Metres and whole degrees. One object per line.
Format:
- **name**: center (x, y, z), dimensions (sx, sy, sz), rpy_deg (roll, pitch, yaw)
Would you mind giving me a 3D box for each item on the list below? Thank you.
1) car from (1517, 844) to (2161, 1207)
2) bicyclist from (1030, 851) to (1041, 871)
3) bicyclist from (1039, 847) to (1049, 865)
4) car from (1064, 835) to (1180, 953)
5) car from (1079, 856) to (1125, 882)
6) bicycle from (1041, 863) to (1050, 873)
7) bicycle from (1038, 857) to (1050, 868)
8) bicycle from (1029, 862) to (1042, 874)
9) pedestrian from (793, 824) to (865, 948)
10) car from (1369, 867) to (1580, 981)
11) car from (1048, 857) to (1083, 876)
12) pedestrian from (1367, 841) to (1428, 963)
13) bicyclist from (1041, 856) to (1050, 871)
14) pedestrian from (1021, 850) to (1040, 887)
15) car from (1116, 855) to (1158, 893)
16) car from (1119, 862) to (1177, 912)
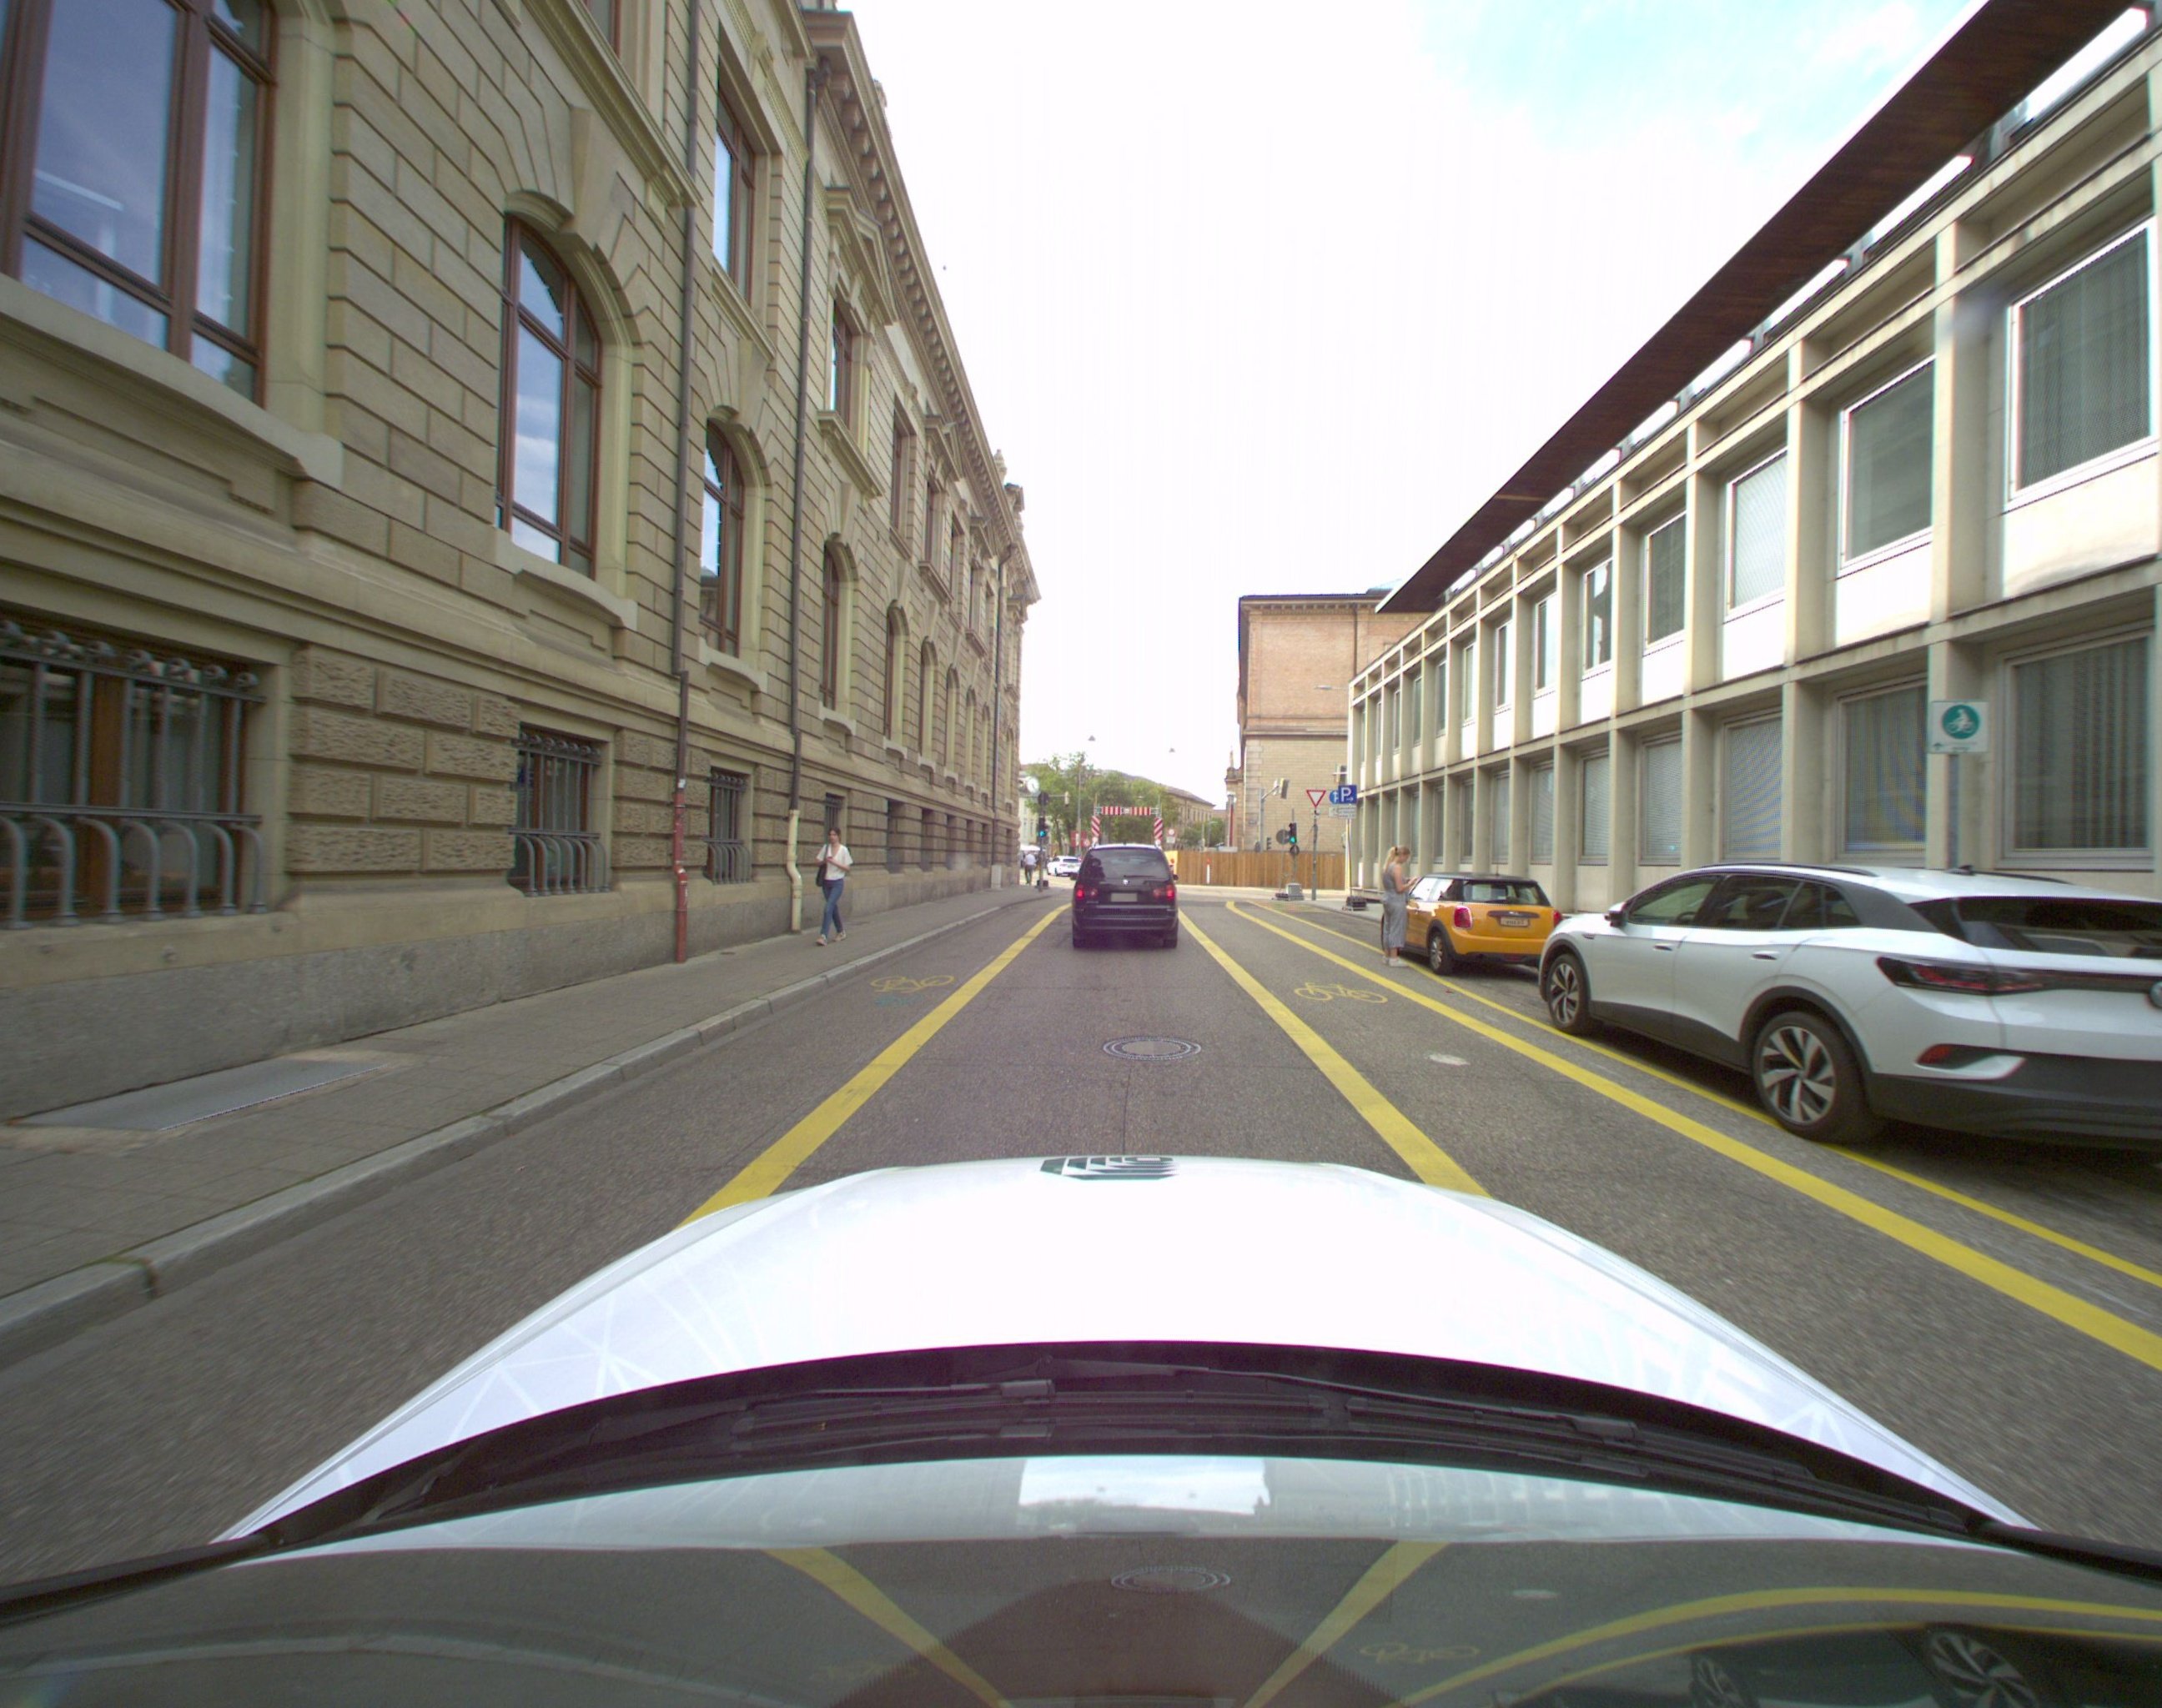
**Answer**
- **car**: center (5.204, 0.846, 5.991), dimensions (1.851, 1.605, 4.518), rpy_deg (4, -1, 5)
- **bicyclist**: center (-3.795, 0.565, 67.890), dimensions (0.735, 1.612, 0.692), rpy_deg (1, -1, -12)
- **bicyclist**: center (-3.724, 0.233, 81.925), dimensions (0.965, 1.782, 0.983), rpy_deg (1, -1, -8)
- **car**: center (0.834, 0.649, 14.784), dimensions (1.781, 1.790, 4.109), rpy_deg (1, -1, 5)
- **car**: center (1.200, 0.879, 48.244), dimensions (1.706, 1.501, 3.980), rpy_deg (1, -1, -14)
- **bicycle**: center (-3.438, 1.342, 78.658), dimensions (0.734, 1.009, 2.063), rpy_deg (1, -1, -8)
- **bicycle**: center (-3.749, 0.831, 81.981), dimensions (0.964, 1.112, 2.782), rpy_deg (1, -1, -7)
- **bicycle**: center (-3.799, 1.175, 67.865), dimensions (0.735, 1.009, 2.061), rpy_deg (1, -1, -11)
- **pedestrian**: center (-3.901, 0.484, 12.693), dimensions (0.661, 1.819, 1.048), rpy_deg (3, -1, 2)
- **car**: center (5.829, 0.941, 12.604), dimensions (1.672, 1.435, 3.892), rpy_deg (2, -1, 5)
- **car**: center (-1.130, 0.890, 57.721), dimensions (1.652, 1.321, 3.657), rpy_deg (1, -1, -14)
- **pedestrian**: center (4.747, 0.699, 12.236), dimensions (0.694, 1.764, 0.707), rpy_deg (1, -1, 6)
- **bicyclist**: center (-3.413, 0.920, 78.530), dimensions (0.735, 1.470, 0.806), rpy_deg (1, -1, -9)
- **pedestrian**: center (-2.590, 0.739, 42.076), dimensions (0.789, 1.819, 1.048), rpy_deg (3, -1, 2)
- **car**: center (2.482, 0.867, 36.628), dimensions (1.766, 1.586, 4.002), rpy_deg (1, -1, 2)
- **car**: center (2.127, 1.023, 26.832), dimensions (1.672, 1.469, 4.104), rpy_deg (1, -1, 2)
